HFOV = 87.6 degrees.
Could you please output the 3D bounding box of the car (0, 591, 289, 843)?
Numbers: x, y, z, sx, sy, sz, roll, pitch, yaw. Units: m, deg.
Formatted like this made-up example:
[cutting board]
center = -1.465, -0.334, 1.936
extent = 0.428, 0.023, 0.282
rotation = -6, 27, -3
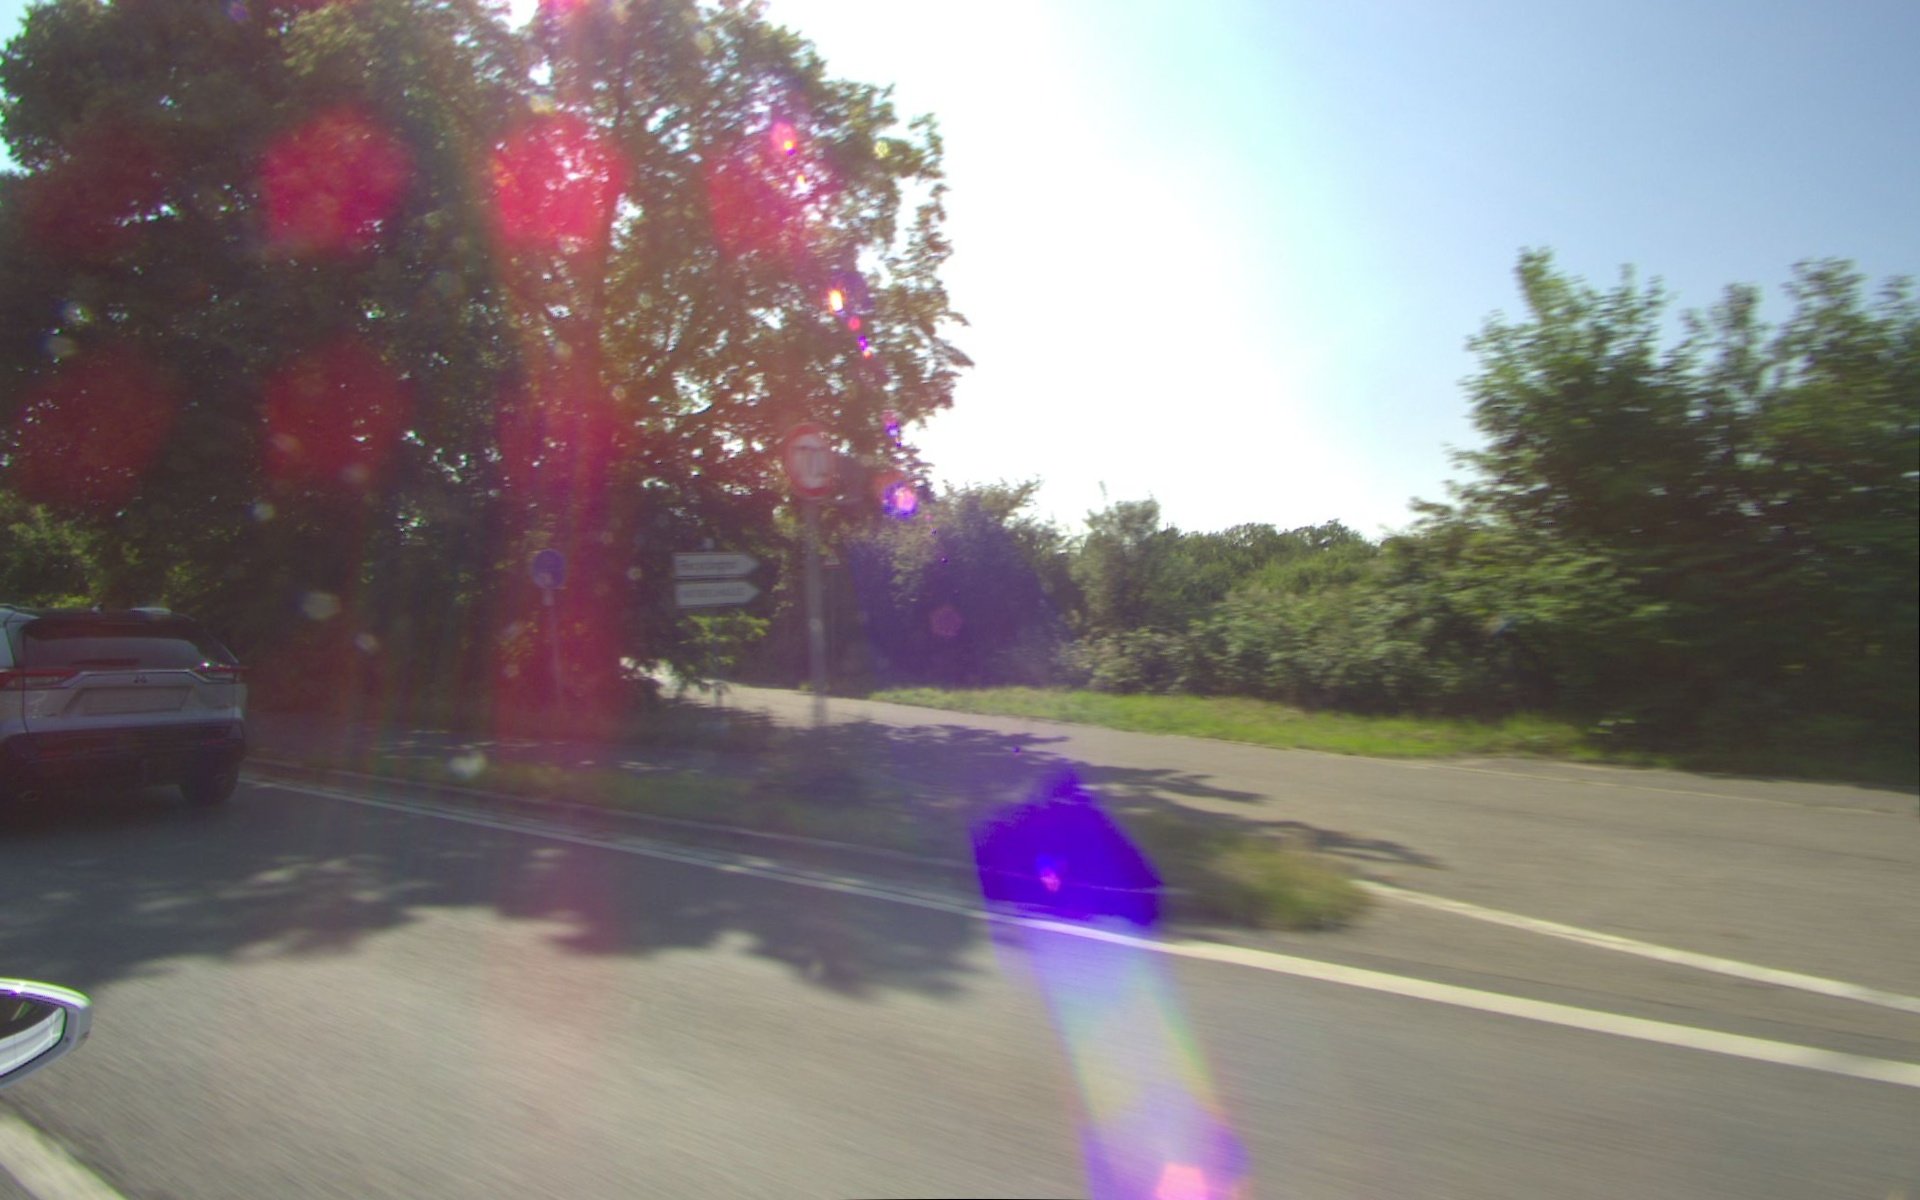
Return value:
[car]
center = -8.017, 0.863, 8.729
extent = 4.617, 1.701, 1.899
rotation = -1, -3, 33
